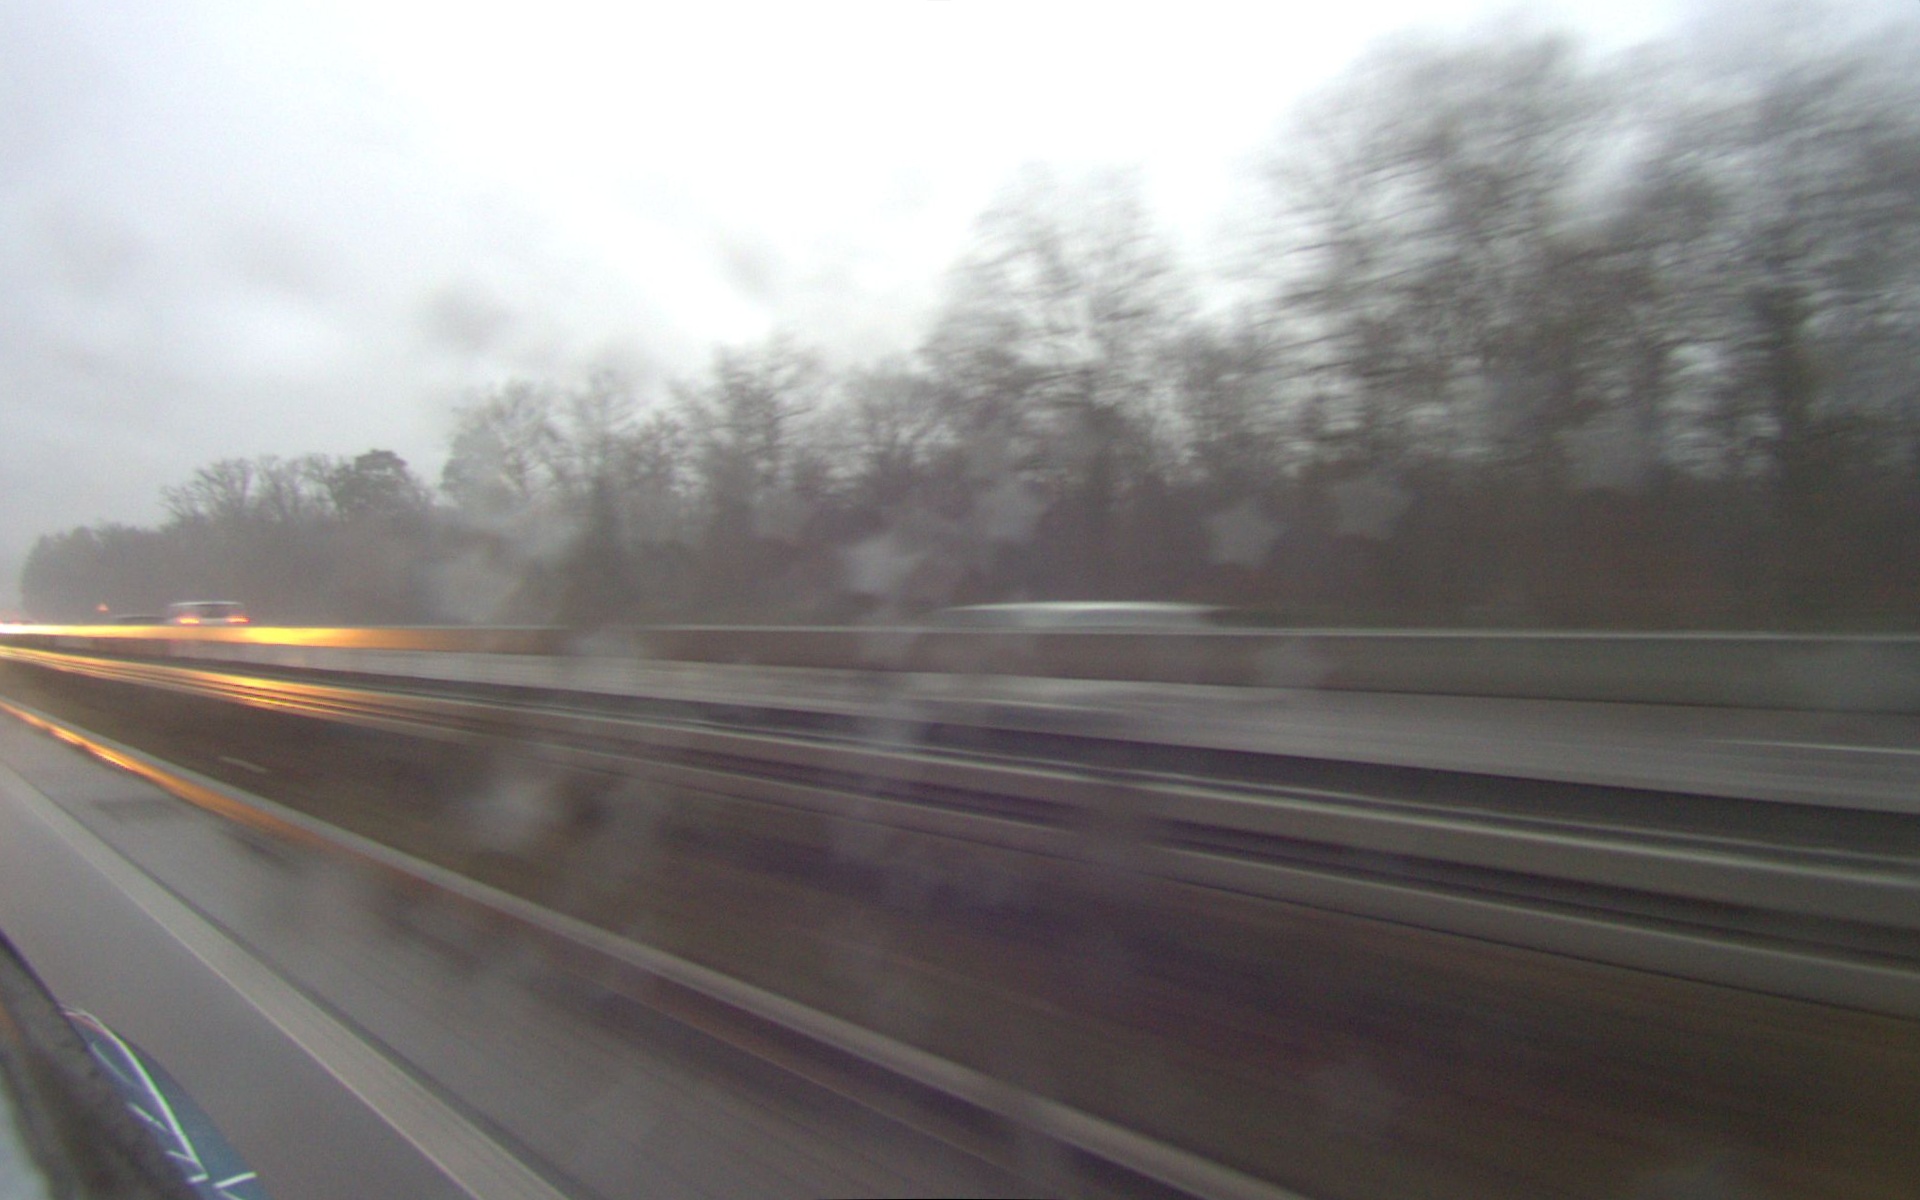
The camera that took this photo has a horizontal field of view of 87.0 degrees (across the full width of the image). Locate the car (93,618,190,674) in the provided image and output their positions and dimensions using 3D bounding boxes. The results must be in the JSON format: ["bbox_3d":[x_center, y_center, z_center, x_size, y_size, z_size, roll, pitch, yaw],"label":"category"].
[{"bbox_3d":[-23.740,1.297,29.331,3.522,1.479,1.614,-1,0,41],"label":"car"}]

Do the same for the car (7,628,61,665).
[{"bbox_3d":[-52.644,2.601,57.503,4.815,1.971,1.725,-1,0,41],"label":"car"}]

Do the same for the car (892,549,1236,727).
[{"bbox_3d":[1.178,0.407,12.418,3.909,1.849,1.739,-1,0,40],"label":"car"}]

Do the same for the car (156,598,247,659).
[{"bbox_3d":[-31.361,1.127,41.773,5.459,2.334,2.010,-1,0,42],"label":"car"}]

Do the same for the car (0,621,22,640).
[{"bbox_3d":[-92.261,2.966,97.966,4.424,1.760,1.701,-1,0,42],"label":"car"}]
